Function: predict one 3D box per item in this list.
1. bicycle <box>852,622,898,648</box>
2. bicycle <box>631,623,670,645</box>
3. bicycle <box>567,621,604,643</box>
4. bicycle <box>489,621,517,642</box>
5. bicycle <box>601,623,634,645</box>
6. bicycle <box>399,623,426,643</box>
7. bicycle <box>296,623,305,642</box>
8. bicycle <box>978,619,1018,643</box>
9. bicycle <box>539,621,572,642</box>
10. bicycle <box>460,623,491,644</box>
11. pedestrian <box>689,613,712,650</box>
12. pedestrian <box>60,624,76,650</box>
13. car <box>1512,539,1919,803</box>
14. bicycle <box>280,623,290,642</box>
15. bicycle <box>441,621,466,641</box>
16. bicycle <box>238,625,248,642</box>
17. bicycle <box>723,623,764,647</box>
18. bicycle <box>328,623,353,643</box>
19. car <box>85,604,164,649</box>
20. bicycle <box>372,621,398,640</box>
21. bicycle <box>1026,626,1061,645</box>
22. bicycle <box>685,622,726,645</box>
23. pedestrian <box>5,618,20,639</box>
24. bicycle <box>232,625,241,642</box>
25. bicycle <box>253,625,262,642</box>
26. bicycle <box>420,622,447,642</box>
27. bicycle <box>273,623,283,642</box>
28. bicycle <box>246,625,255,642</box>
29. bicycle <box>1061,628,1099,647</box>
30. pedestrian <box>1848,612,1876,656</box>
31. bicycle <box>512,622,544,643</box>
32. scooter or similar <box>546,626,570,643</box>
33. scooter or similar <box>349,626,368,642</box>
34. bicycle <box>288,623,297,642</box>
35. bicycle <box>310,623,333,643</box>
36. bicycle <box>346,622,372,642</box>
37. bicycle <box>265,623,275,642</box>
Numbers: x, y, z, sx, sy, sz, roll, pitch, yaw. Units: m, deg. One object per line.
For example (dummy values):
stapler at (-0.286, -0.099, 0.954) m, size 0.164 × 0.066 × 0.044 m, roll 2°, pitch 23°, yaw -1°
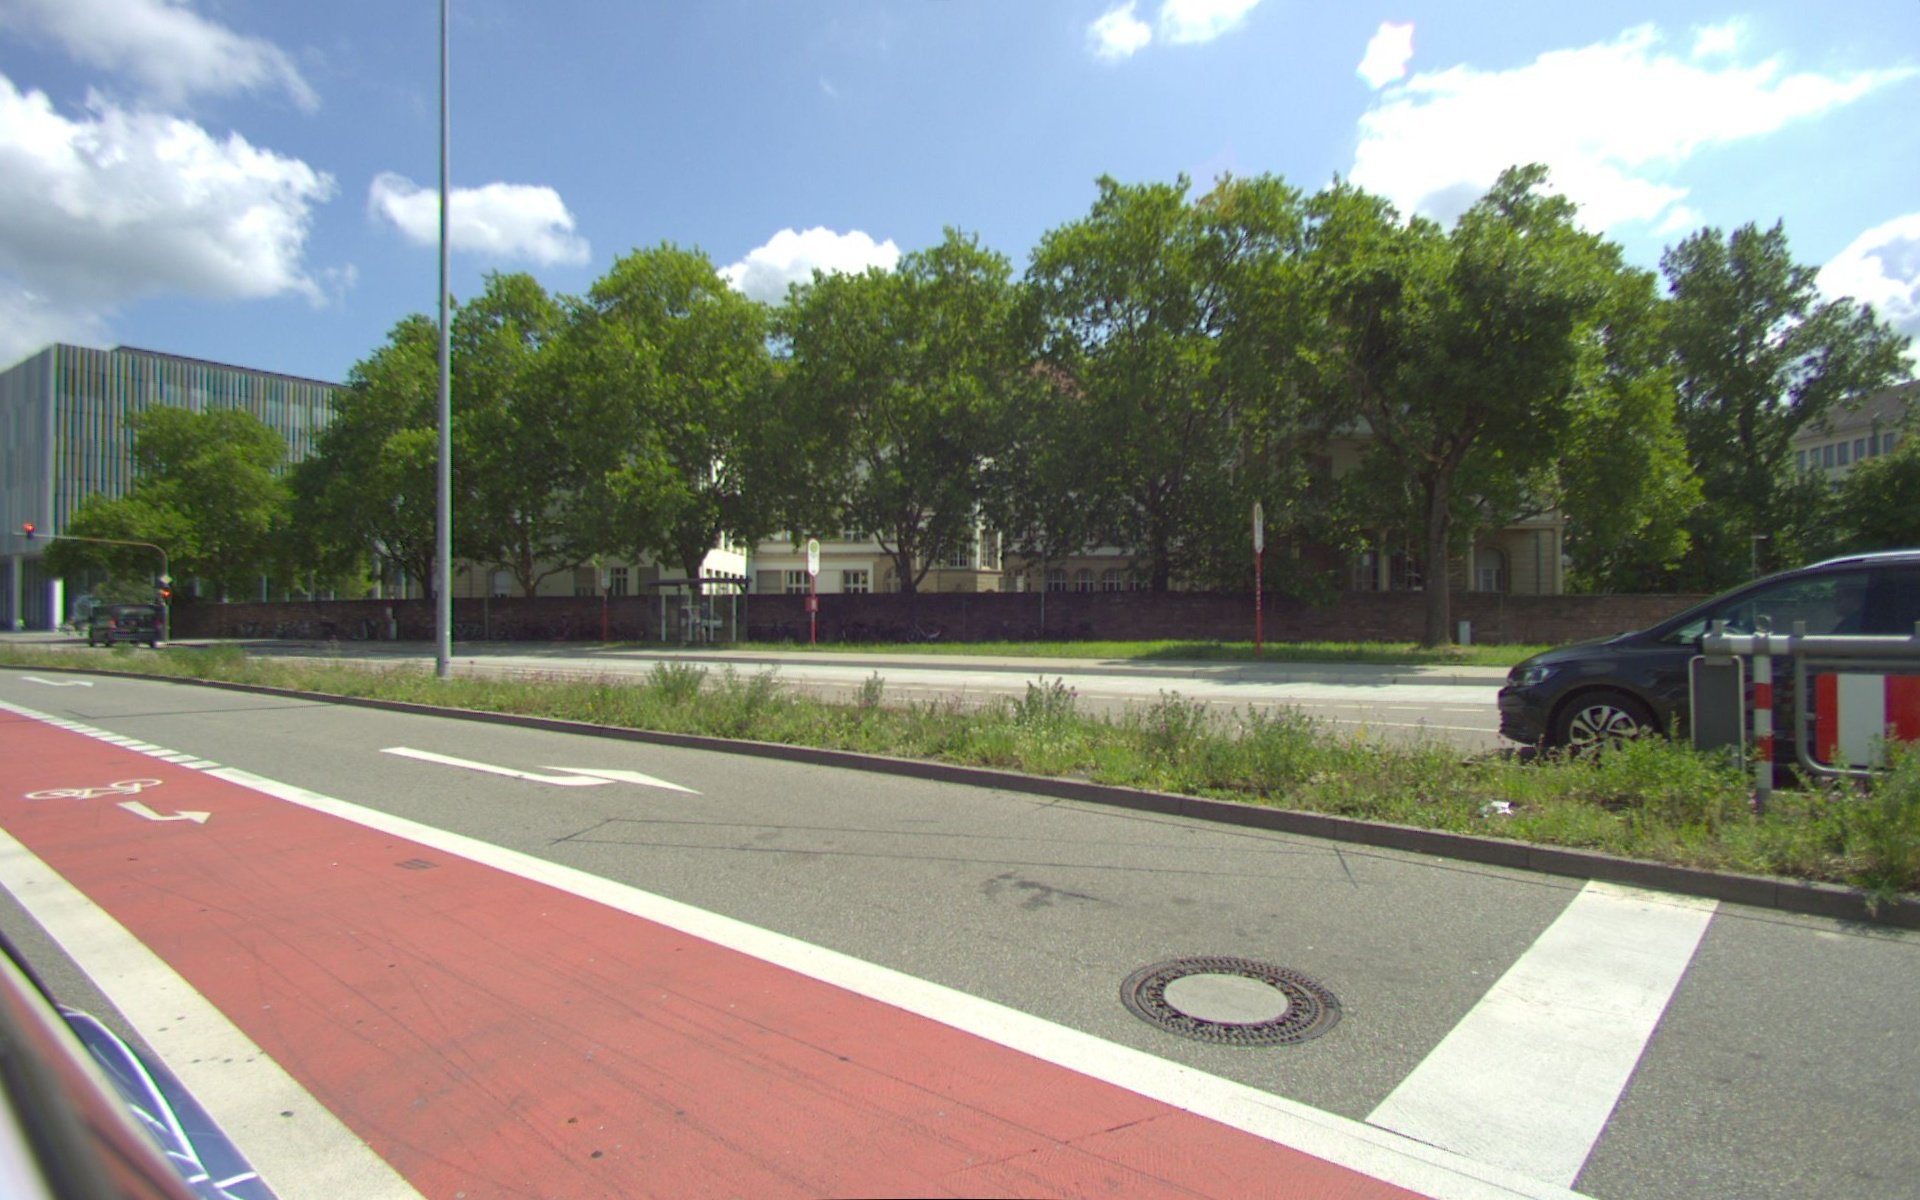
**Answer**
bicycle at (-3.743, 1.548, 44.559) m, size 2.019 × 1.146 × 0.396 m, roll 0°, pitch -1°, yaw 14°
bicycle at (-14.693, 1.611, 48.039) m, size 1.942 × 1.051 × 0.395 m, roll -1°, pitch -1°, yaw 19°
bicycle at (-18.234, 1.535, 49.303) m, size 1.944 × 1.051 × 0.395 m, roll -1°, pitch -1°, yaw 22°
bicycle at (-23.258, 1.601, 51.490) m, size 1.574 × 1.051 × 0.395 m, roll -1°, pitch -1°, yaw 24°
bicycle at (-16.476, 1.620, 48.670) m, size 1.627 × 1.051 × 0.395 m, roll -1°, pitch -1°, yaw 19°
bicycle at (-29.426, 1.749, 54.394) m, size 1.661 × 1.051 × 0.379 m, roll -1°, pitch -1°, yaw 26°
bicycle at (-38.551, 1.893, 59.132) m, size 0.376 × 1.116 × 1.675 m, roll 0°, pitch -1°, yaw -31°
bicycle at (1.609, 1.322, 43.238) m, size 1.669 × 1.038 × 0.396 m, roll 0°, pitch -1°, yaw 12°
bicycle at (-20.027, 1.562, 50.046) m, size 1.750 × 1.051 × 0.395 m, roll -1°, pitch -1°, yaw 23°
bicycle at (-25.011, 1.740, 52.266) m, size 1.751 × 1.051 × 0.395 m, roll -1°, pitch -1°, yaw 24°
pedestrian at (-11.587, 1.411, 45.145) m, size 0.772 × 1.623 × 0.721 m, roll 0°, pitch -1°, yaw 9°
pedestrian at (-70.172, 2.907, 79.614) m, size 0.805 × 1.931 × 0.707 m, roll 0°, pitch 0°, yaw 33°
car at (6.434, 0.435, 7.103) m, size 4.155 × 1.636 × 1.860 m, roll -1°, pitch -1°, yaw 43°
bicycle at (-39.966, 1.902, 59.940) m, size 0.376 × 1.116 × 1.675 m, roll 0°, pitch -1°, yaw -31°
bicycle at (-26.478, 1.616, 52.937) m, size 1.408 × 1.051 × 0.374 m, roll -1°, pitch -1°, yaw 24°
bicycle at (-44.266, 2.061, 62.494) m, size 0.324 × 1.025 × 1.675 m, roll 0°, pitch -1°, yaw -31°
bicycle at (-9.897, 1.593, 46.221) m, size 1.942 × 1.051 × 0.395 m, roll -1°, pitch -1°, yaw 19°
bicycle at (-35.128, 1.844, 57.374) m, size 1.662 × 1.116 × 0.379 m, roll -1°, pitch -1°, yaw 28°
car at (-42.544, 1.383, 51.505) m, size 4.515 × 2.188 × 2.187 m, roll -1°, pitch -3°, yaw 39°
bicycle at (-31.398, 1.672, 55.251) m, size 1.661 × 1.051 × 0.379 m, roll -1°, pitch -1°, yaw 26°
bicycle at (3.535, 1.505, 42.795) m, size 1.451 × 0.795 × 0.396 m, roll 0°, pitch -1°, yaw 12°
bicycle at (-11.797, 1.545, 46.908) m, size 1.942 × 1.051 × 0.395 m, roll -1°, pitch -1°, yaw 19°
pedestrian at (-87.933, 2.627, 93.896) m, size 0.805 × 1.931 × 0.817 m, roll 0°, pitch 0°, yaw 33°
bicycle at (-44.920, 2.065, 62.840) m, size 0.324 × 1.025 × 1.675 m, roll 0°, pitch -1°, yaw -31°
bicycle at (-42.832, 2.041, 61.671) m, size 0.324 × 1.025 × 1.675 m, roll 0°, pitch -1°, yaw -31°
bicycle at (-27.891, 1.677, 53.626) m, size 1.661 × 1.051 × 0.379 m, roll -1°, pitch -1°, yaw 26°
bicycle at (-40.672, 1.950, 60.357) m, size 0.376 × 1.116 × 1.675 m, roll 0°, pitch -1°, yaw -31°
bicycle at (-43.456, 2.041, 62.027) m, size 0.324 × 1.025 × 1.675 m, roll 0°, pitch -1°, yaw -31°
bicycle at (5.039, 1.573, 42.477) m, size 1.528 × 0.795 × 0.396 m, roll 0°, pitch -1°, yaw 12°
pedestrian at (35.539, 1.351, 39.866) m, size 0.670 × 1.708 × 0.488 m, roll -1°, pitch 0°, yaw -1°
bicycle at (-21.684, 1.615, 50.778) m, size 1.751 × 1.011 × 0.395 m, roll -1°, pitch -1°, yaw 24°
scooter or similar at (-19.534, 1.674, 49.148) m, size 1.059 × 0.800 × 0.351 m, roll 0°, pitch -1°, yaw 14°
scooter or similar at (-32.950, 1.874, 55.446) m, size 1.064 × 0.850 × 0.350 m, roll -1°, pitch -1°, yaw 25°
bicycle at (-39.228, 1.896, 59.490) m, size 0.376 × 1.116 × 1.675 m, roll 0°, pitch -1°, yaw -31°
bicycle at (-36.871, 1.895, 58.404) m, size 1.663 × 1.116 × 0.379 m, roll -1°, pitch -1°, yaw 29°
bicycle at (-33.623, 1.793, 56.596) m, size 1.661 × 1.116 × 0.379 m, roll -1°, pitch -1°, yaw 26°
bicycle at (-41.172, 1.944, 60.423) m, size 0.376 × 1.116 × 1.675 m, roll 0°, pitch -1°, yaw -31°
